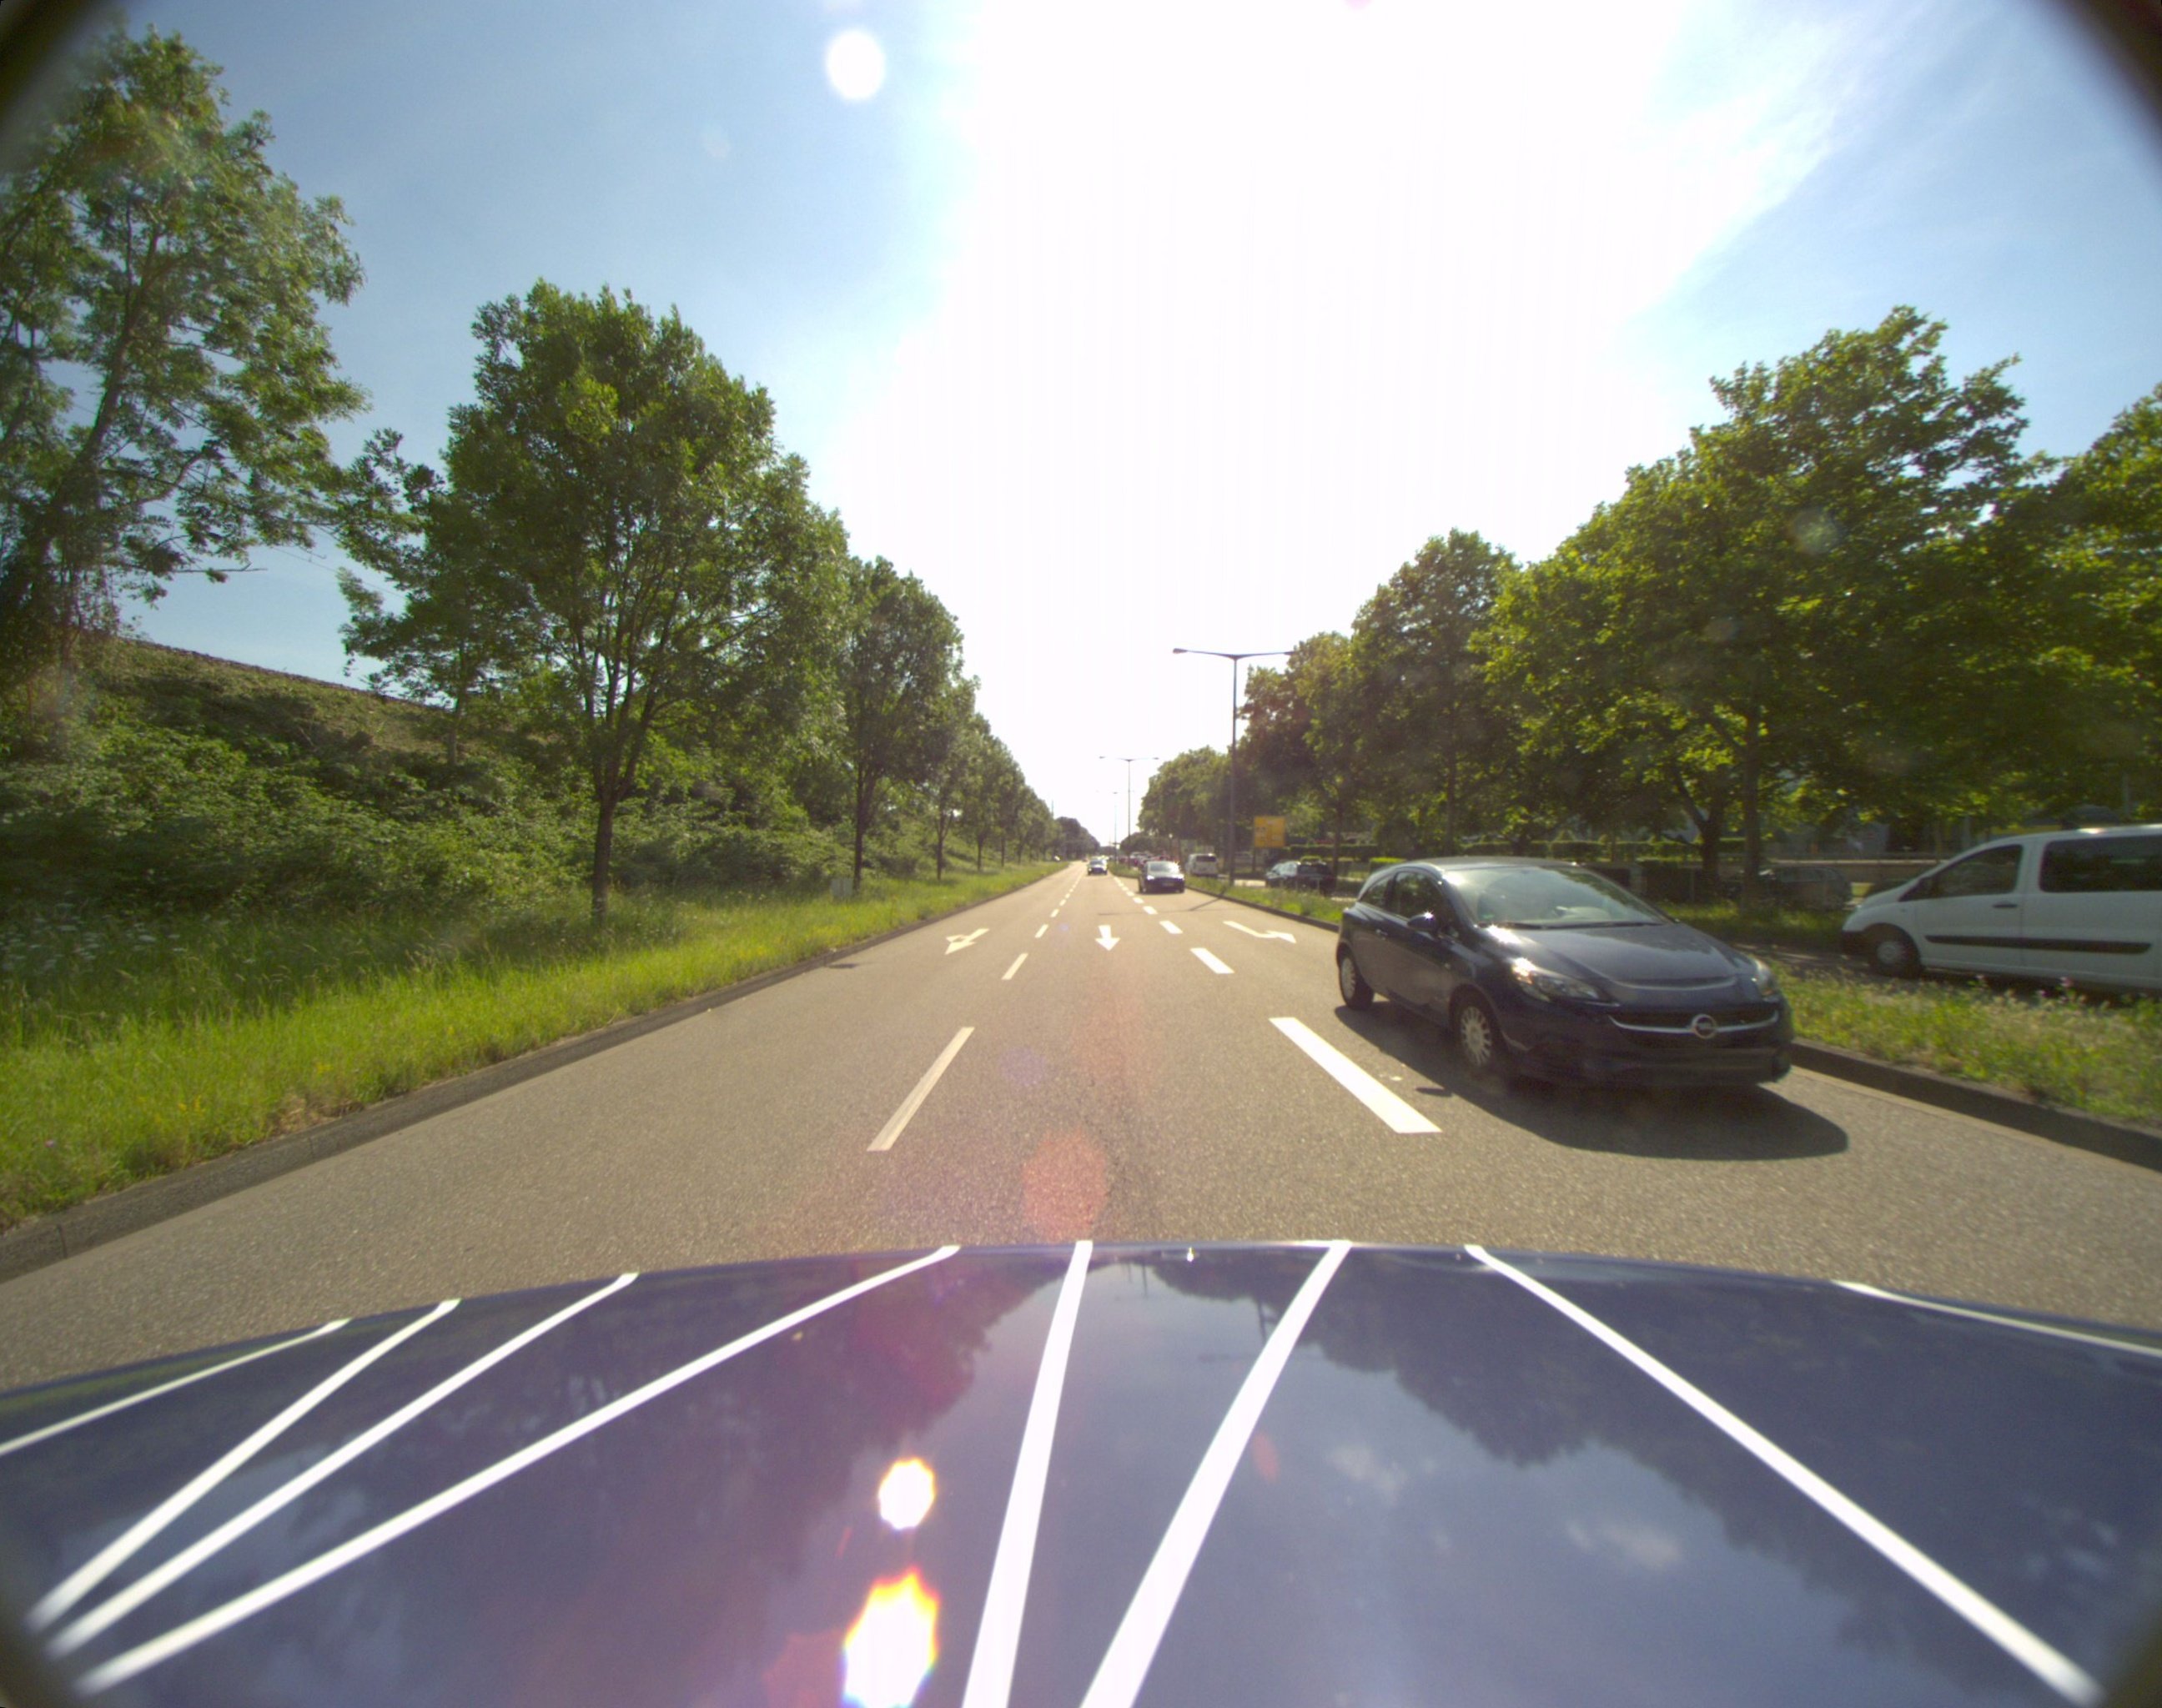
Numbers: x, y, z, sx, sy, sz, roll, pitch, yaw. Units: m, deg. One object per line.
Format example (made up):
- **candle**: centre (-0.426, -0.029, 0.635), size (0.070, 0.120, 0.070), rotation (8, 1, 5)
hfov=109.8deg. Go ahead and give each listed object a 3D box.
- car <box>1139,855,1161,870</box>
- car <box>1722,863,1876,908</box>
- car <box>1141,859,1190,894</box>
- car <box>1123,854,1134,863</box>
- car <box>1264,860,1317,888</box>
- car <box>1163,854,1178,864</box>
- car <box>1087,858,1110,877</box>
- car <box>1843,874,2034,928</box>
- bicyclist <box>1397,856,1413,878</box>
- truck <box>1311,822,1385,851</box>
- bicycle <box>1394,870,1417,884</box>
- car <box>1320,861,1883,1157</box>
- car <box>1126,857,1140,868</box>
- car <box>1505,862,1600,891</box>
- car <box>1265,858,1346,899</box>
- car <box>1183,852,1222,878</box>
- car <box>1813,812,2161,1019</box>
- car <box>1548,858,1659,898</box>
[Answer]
- **car**: centre (7.170, 0.894, 79.616), size (1.773, 1.460, 4.282), rotation (0, 0, -2)
- **car**: centre (26.779, 1.151, 28.425), size (3.997, 1.592, 1.869), rotation (0, 0, 0)
- **car**: centre (3.896, 1.016, 35.705), size (1.826, 1.497, 4.216), rotation (-2, 0, 0)
- **car**: centre (8.406, 0.749, 134.504), size (1.777, 1.459, 4.671), rotation (1, 0, 1)
- **car**: centre (11.795, 1.091, 43.042), size (1.791, 1.390, 4.358), rotation (1, 0, 1)
- **car**: centre (13.830, 0.818, 117.630), size (1.768, 1.454, 4.000), rotation (1, 0, 1)
- **car**: centre (1.586, 1.233, 70.240), size (1.998, 1.699, 4.431), rotation (0, 0, 0)
- **car**: centre (26.010, 1.395, 23.122), size (3.999, 1.406, 1.804), rotation (-1, 1, -5)
- **bicyclist**: centre (21.759, 0.847, 51.000), size (0.683, 1.476, 0.942), rotation (0, 0, 1)
- **truck**: centre (34.122, -2.160, 97.460), size (2.678, 3.376, 8.965), rotation (-1, 0, -35)
- **bicycle**: centre (21.765, 1.541, 50.979), size (0.691, 0.861, 1.926), rotation (0, 0, 1)
- **car**: centre (3.358, 0.826, 5.991), size (1.630, 1.474, 4.048), rotation (-2, 0, 0)
- **car**: centre (7.812, 1.270, 114.368), size (1.844, 1.470, 4.166), rotation (0, 0, 1)
- **car**: centre (25.229, 1.192, 40.762), size (3.996, 1.456, 1.772), rotation (0, 0, 1)
- **car**: centre (9.085, 0.949, 31.164), size (1.998, 1.521, 4.682), rotation (0, 0, 1)
- **car**: centre (9.464, 0.832, 59.484), size (2.122, 1.872, 5.419), rotation (0, 0, 0)
- **car**: centre (11.473, 0.601, 8.288), size (1.998, 2.002, 5.213), rotation (0, 0, 1)
- **car**: centre (25.738, 1.176, 37.547), size (3.995, 1.812, 2.157), rotation (-1, 1, 5)
